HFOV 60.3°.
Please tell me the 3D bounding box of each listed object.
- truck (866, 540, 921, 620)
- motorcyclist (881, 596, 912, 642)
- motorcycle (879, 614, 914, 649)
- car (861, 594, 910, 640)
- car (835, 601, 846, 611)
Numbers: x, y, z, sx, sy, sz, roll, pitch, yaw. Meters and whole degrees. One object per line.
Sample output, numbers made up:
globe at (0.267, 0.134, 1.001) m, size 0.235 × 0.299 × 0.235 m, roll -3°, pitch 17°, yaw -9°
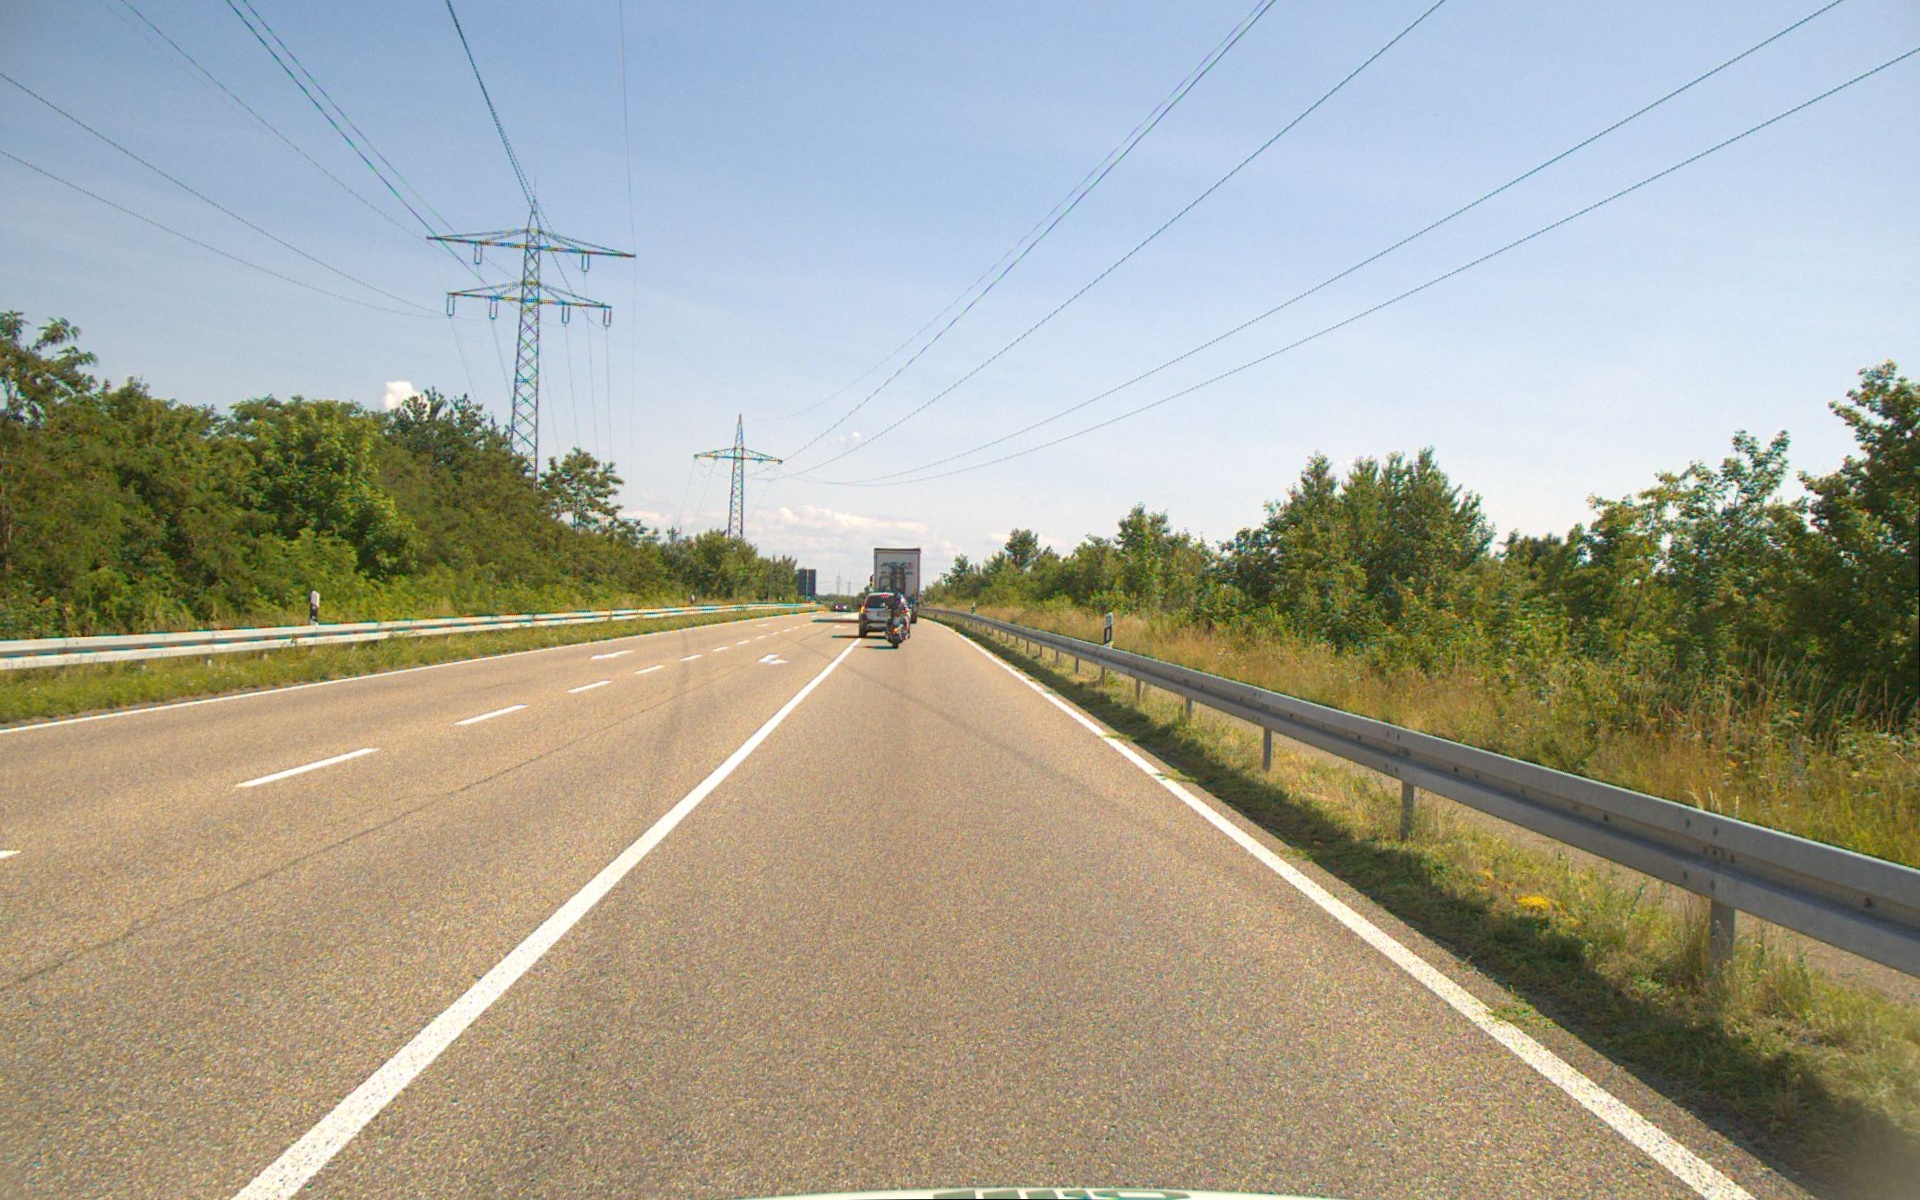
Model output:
truck at (-3.910, -1.100, 97.380) m, size 2.908 × 4.260 × 14.814 m, roll 1°, pitch 0°, yaw -2°
motorcyclist at (-1.836, 0.538, 47.676) m, size 0.821 × 1.303 × 0.918 m, roll 1°, pitch 0°, yaw -6°
motorcycle at (-1.842, 0.886, 47.632) m, size 0.842 × 0.931 × 2.225 m, roll 2°, pitch 0°, yaw -5°
car at (-2.641, 0.579, 58.362) m, size 1.667 × 1.563 × 3.497 m, roll 1°, pitch 0°, yaw -3°
car at (-18.629, 0.868, 258.455) m, size 1.693 × 1.517 × 4.419 m, roll 1°, pitch 0°, yaw -4°
